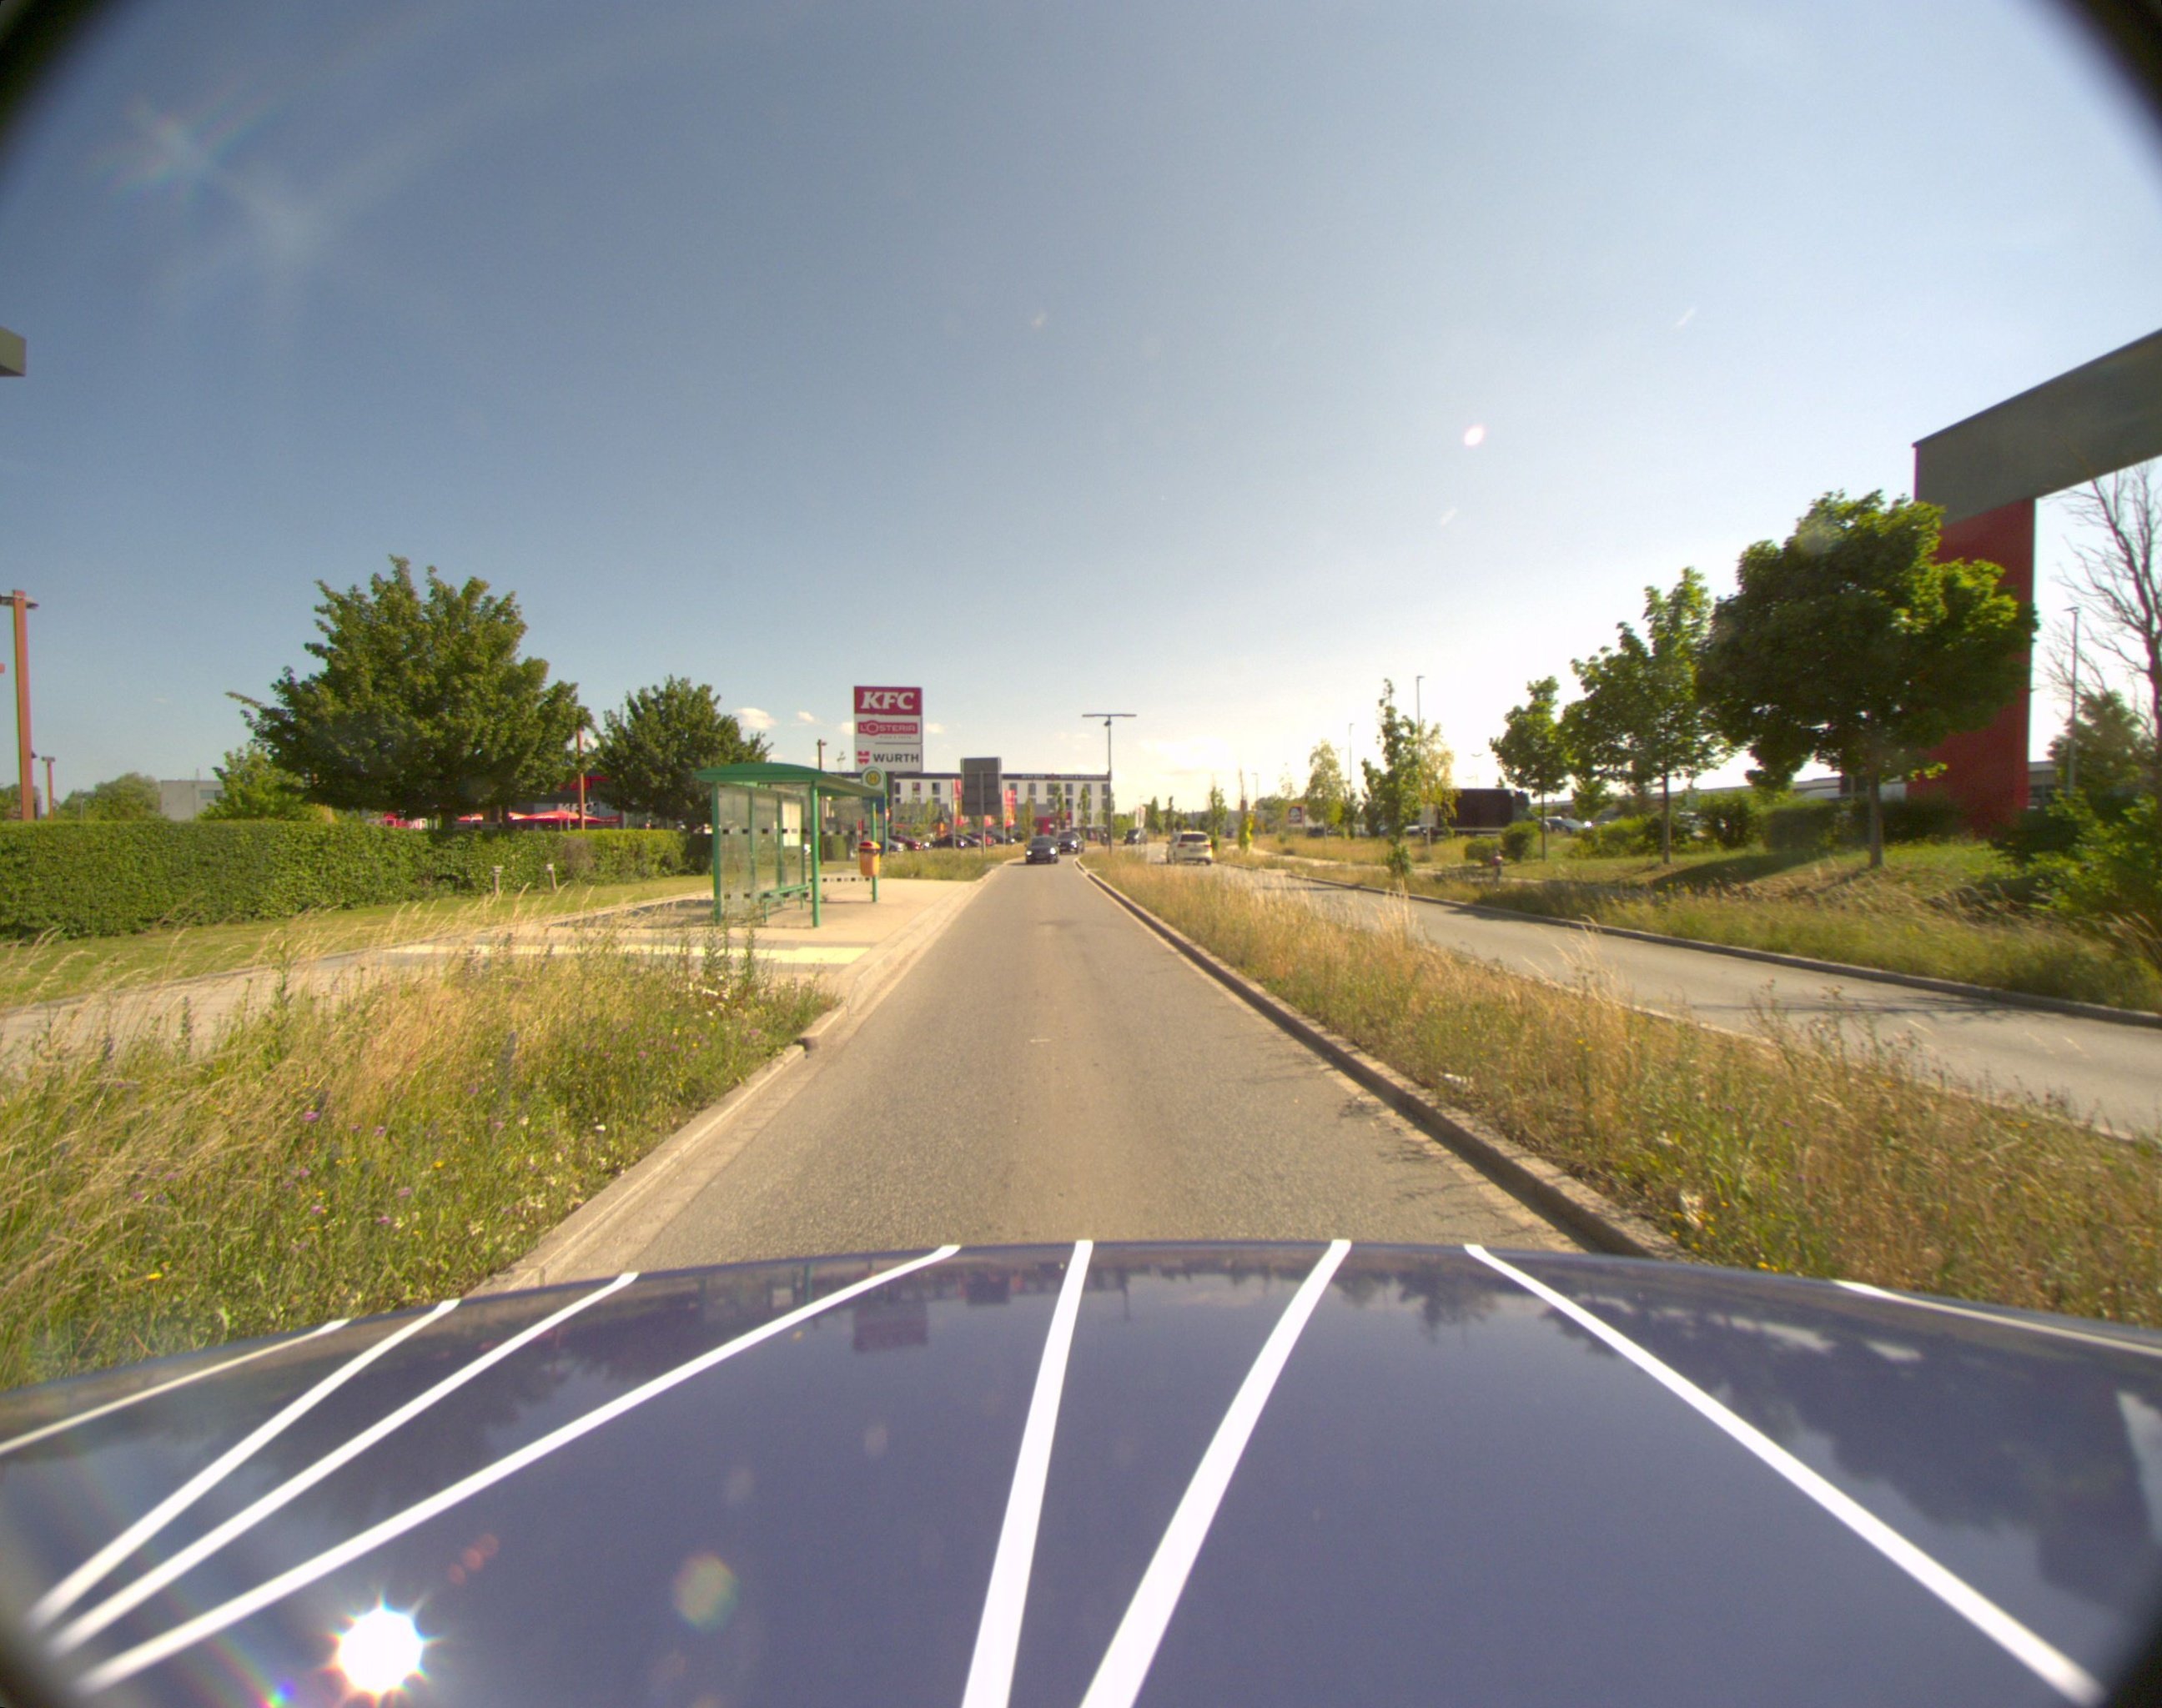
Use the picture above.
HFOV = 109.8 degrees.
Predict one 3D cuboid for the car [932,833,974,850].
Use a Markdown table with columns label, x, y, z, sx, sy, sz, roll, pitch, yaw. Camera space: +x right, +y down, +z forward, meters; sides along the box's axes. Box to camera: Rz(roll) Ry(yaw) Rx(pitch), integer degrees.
| label | x | y | z | sx | sy | sz | roll | pitch | yaw |
| --- | --- | --- | --- | --- | --- | --- | --- | --- | --- |
| car | -14.199 | -1.400 | 84.071 | 4.179 | 1.847 | 1.805 | 0 | 2 | 15 |

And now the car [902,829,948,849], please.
| label | x | y | z | sx | sy | sz | roll | pitch | yaw |
| --- | --- | --- | --- | --- | --- | --- | --- | --- | --- |
| car | -16.002 | -1.499 | 77.966 | 4.180 | 2.002 | 1.934 | 0 | 2 | 11 |

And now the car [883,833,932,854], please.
| label | x | y | z | sx | sy | sz | roll | pitch | yaw |
| --- | --- | --- | --- | --- | --- | --- | --- | --- | --- |
| car | -17.103 | -1.050 | 74.957 | 4.180 | 2.002 | 1.934 | 0 | 2 | 12 |

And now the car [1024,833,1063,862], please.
| label | x | y | z | sx | sy | sz | roll | pitch | yaw |
| --- | --- | --- | --- | --- | --- | --- | --- | --- | --- |
| car | -1.945 | -0.340 | 40.233 | 1.862 | 1.460 | 3.999 | -1 | 1 | 0 |

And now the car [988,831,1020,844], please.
| label | x | y | z | sx | sy | sz | roll | pitch | yaw |
| --- | --- | --- | --- | --- | --- | --- | --- | --- | --- |
| car | -9.953 | -2.142 | 98.390 | 3.819 | 1.610 | 1.758 | 0 | 2 | 11 |

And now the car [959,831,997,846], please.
| label | x | y | z | sx | sy | sz | roll | pitch | yaw |
| --- | --- | --- | --- | --- | --- | --- | --- | --- | --- |
| car | -12.452 | -1.924 | 91.936 | 4.179 | 1.752 | 1.825 | 0 | 2 | 14 |

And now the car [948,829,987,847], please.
| label | x | y | z | sx | sy | sz | roll | pitch | yaw |
| --- | --- | --- | --- | --- | --- | --- | --- | --- | --- |
| car | -13.281 | -1.905 | 89.035 | 4.180 | 2.002 | 1.934 | 0 | 2 | 10 |

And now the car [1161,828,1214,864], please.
| label | x | y | z | sx | sy | sz | roll | pitch | yaw |
| --- | --- | --- | --- | --- | --- | --- | --- | --- | --- |
| car | 5.302 | -0.409 | 38.325 | 1.862 | 1.705 | 4.154 | 0 | 1 | -3 |

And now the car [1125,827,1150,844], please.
| label | x | y | z | sx | sy | sz | roll | pitch | yaw |
| --- | --- | --- | --- | --- | --- | --- | --- | --- | --- |
| car | 6.784 | -2.264 | 91.514 | 2.076 | 2.037 | 4.687 | 0 | 2 | 16 |

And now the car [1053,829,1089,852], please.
| label | x | y | z | sx | sy | sz | roll | pitch | yaw |
| --- | --- | --- | --- | --- | --- | --- | --- | --- | --- |
| car | -0.697 | -1.066 | 57.640 | 1.959 | 1.653 | 4.685 | 0 | 2 | 9 |

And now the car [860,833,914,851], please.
| label | x | y | z | sx | sy | sz | roll | pitch | yaw |
| --- | --- | --- | --- | --- | --- | --- | --- | --- | --- |
| car | -17.935 | -1.108 | 70.295 | 4.438 | 1.643 | 1.933 | 0 | 2 | 4 |

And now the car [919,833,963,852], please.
| label | x | y | z | sx | sy | sz | roll | pitch | yaw |
| --- | --- | --- | --- | --- | --- | --- | --- | --- | --- |
| car | -15.024 | -1.269 | 81.497 | 4.180 | 2.002 | 1.934 | 0 | 2 | 11 |
